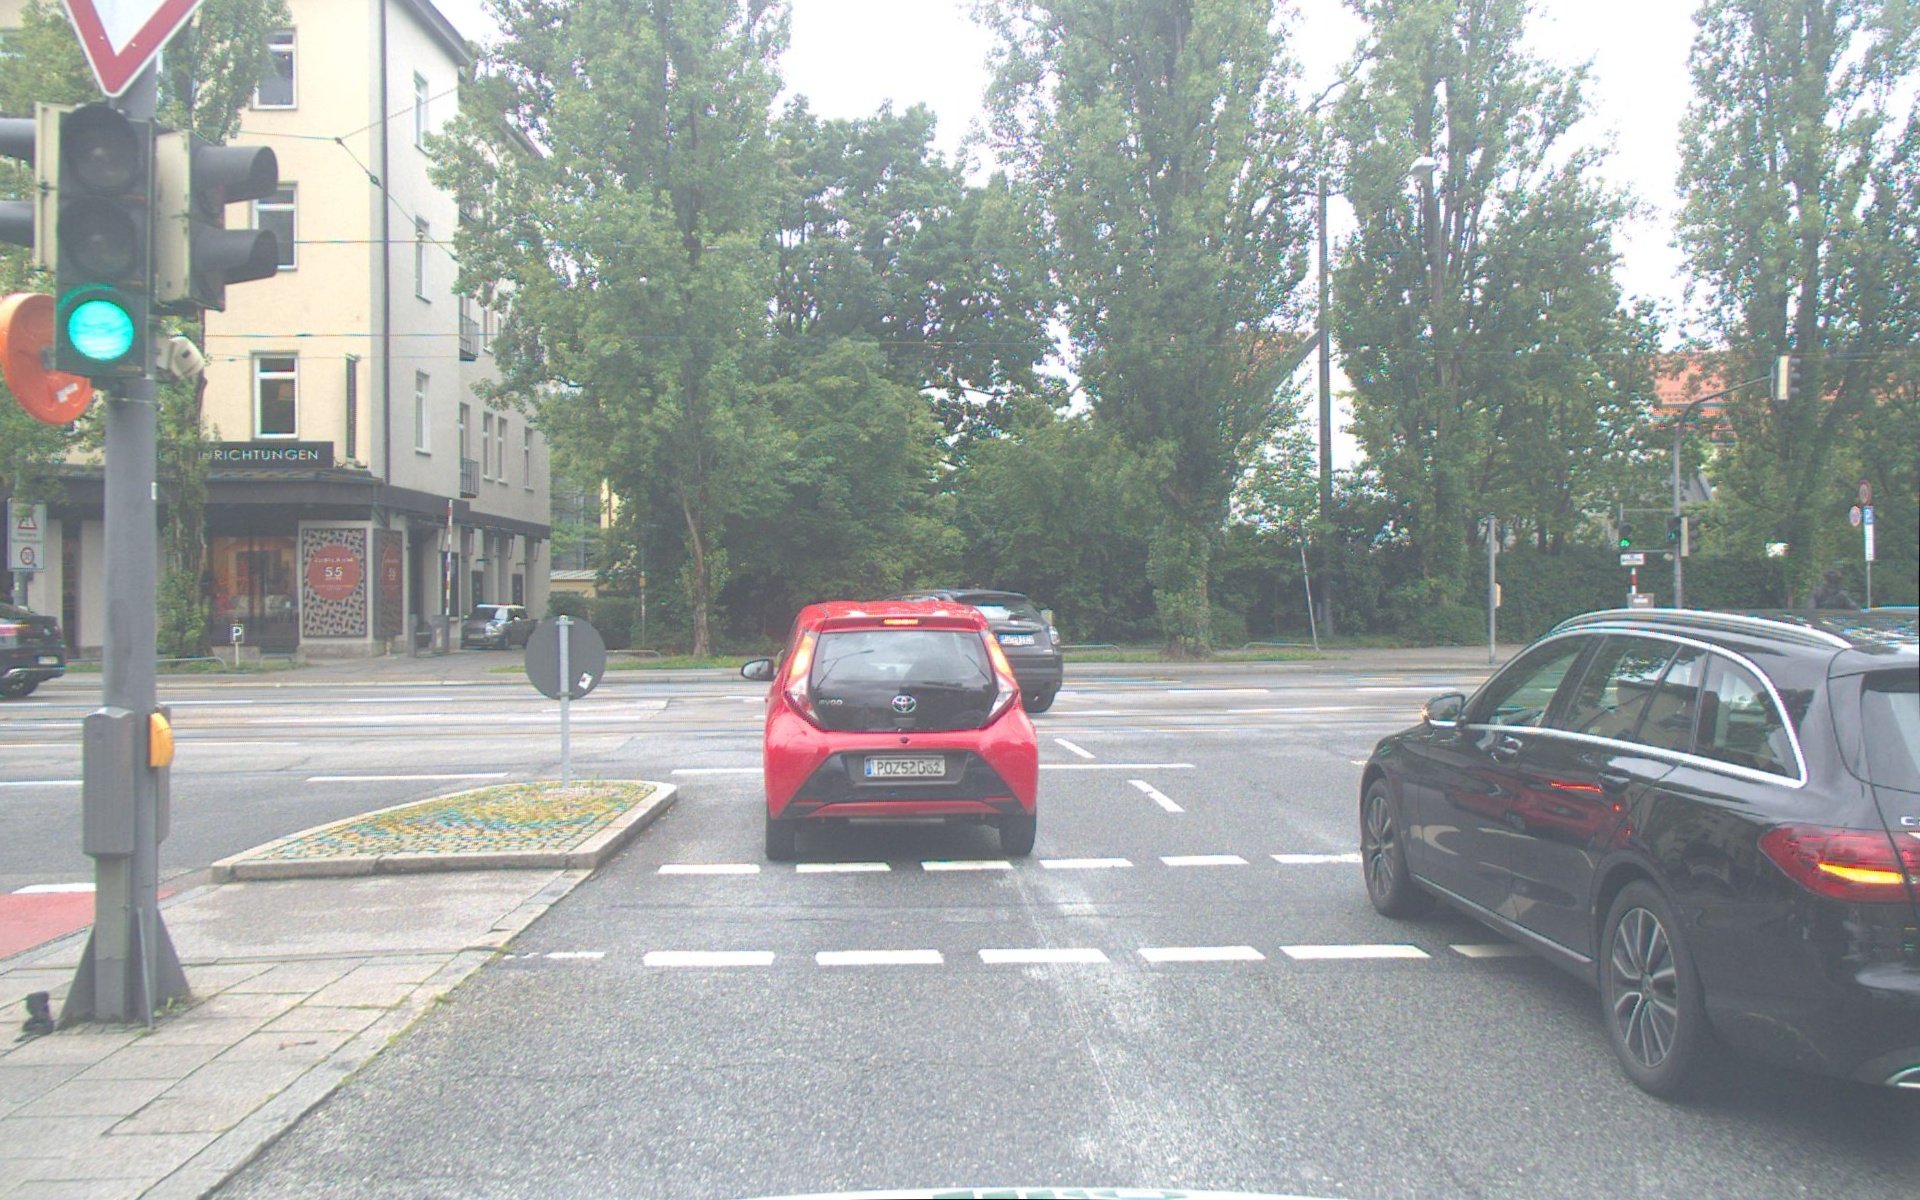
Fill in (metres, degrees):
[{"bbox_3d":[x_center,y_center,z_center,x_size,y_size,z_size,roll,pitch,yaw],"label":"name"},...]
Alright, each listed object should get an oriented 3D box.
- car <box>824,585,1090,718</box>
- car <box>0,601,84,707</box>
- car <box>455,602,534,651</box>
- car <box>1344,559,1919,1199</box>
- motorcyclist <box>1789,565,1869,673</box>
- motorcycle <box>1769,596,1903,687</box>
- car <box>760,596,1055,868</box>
[{"bbox_3d":[-0.142,0.610,21.080,1.760,1.512,3.963,-1,0,-28],"label":"car"},{"bbox_3d":[-16.300,0.832,25.649,4.468,1.576,1.741,-1,0,-1],"label":"car"},{"bbox_3d":[-14.972,0.826,53.344,1.691,1.467,3.996,-1,0,-5],"label":"car"},{"bbox_3d":[2.968,0.704,6.329,1.825,1.576,4.702,1,0,-1],"label":"car"},{"bbox_3d":[12.076,0.268,23.005,0.606,1.468,0.881,1,-1,-5],"label":"motorcyclist"},{"bbox_3d":[12.083,0.563,22.897,0.616,1.190,2.027,1,-1,-6],"label":"motorcycle"},{"bbox_3d":[-0.483,0.717,10.821,1.598,1.465,3.371,-1,0,-7],"label":"car"}]
